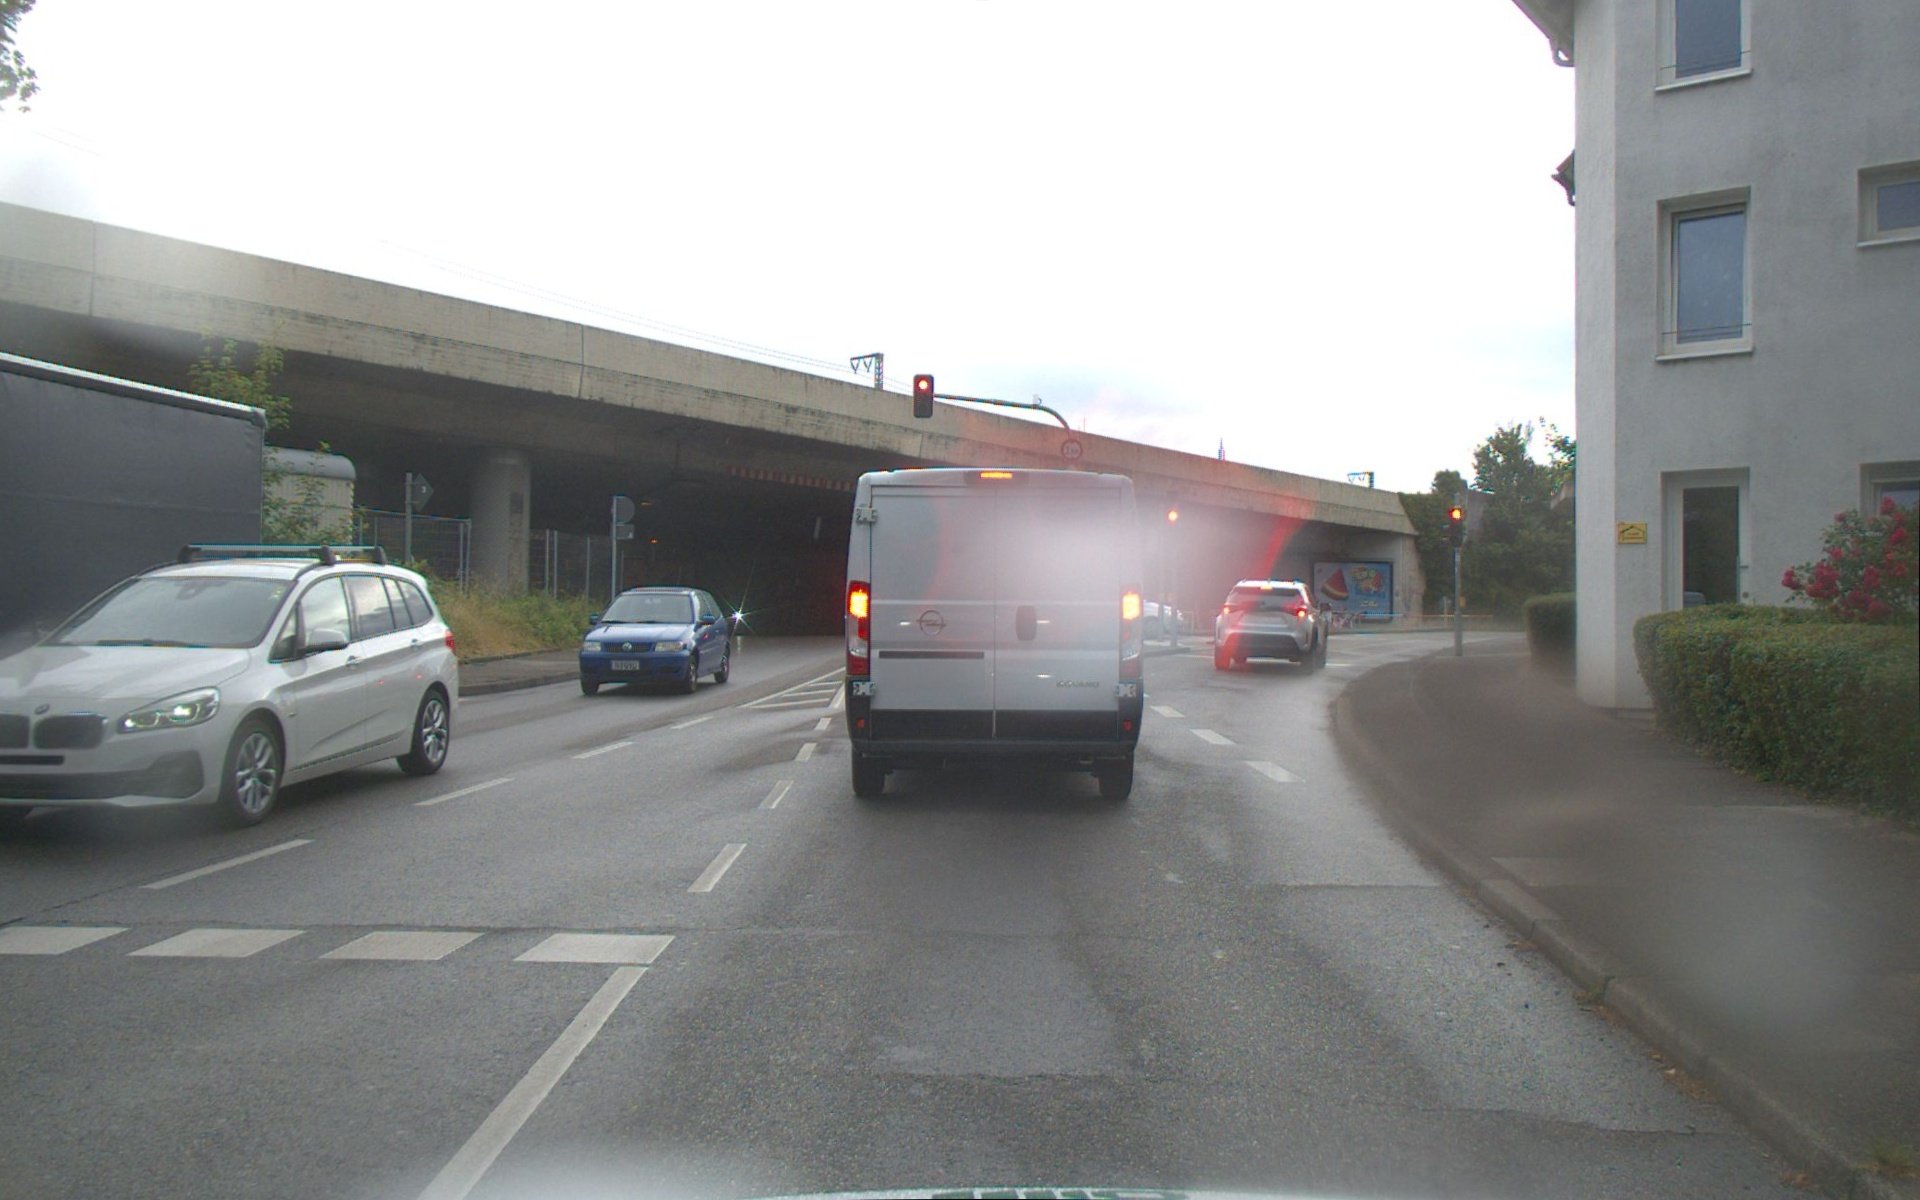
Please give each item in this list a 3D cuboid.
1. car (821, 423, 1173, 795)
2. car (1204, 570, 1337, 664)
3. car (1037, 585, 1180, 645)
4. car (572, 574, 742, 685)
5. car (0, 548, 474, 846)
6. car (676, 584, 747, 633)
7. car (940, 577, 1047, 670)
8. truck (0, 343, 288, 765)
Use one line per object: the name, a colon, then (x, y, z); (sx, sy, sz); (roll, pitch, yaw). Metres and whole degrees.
car: (0.298, 0.055, 13.256); (2.257, 2.384, 5.283); (0, 0, 1)
car: (5.684, 0.310, 29.907); (1.951, 1.576, 4.002); (1, -1, 16)
car: (4.177, 0.425, 46.354); (3.902, 1.581, 2.001); (1, -1, 6)
car: (-4.285, 0.373, 23.862); (1.564, 1.450, 3.699); (1, 1, 3)
car: (-5.017, 0.485, 11.310); (1.793, 1.606, 4.337); (1, 1, 4)
car: (-8.483, 0.273, 56.184); (1.812, 1.596, 4.392); (0, 0, -17)
car: (0.743, 0.470, 33.669); (1.951, 1.759, 4.002); (1, -1, 4)
truck: (-8.737, -0.371, 13.947); (2.555, 3.293, 7.779); (1, 0, 3)
